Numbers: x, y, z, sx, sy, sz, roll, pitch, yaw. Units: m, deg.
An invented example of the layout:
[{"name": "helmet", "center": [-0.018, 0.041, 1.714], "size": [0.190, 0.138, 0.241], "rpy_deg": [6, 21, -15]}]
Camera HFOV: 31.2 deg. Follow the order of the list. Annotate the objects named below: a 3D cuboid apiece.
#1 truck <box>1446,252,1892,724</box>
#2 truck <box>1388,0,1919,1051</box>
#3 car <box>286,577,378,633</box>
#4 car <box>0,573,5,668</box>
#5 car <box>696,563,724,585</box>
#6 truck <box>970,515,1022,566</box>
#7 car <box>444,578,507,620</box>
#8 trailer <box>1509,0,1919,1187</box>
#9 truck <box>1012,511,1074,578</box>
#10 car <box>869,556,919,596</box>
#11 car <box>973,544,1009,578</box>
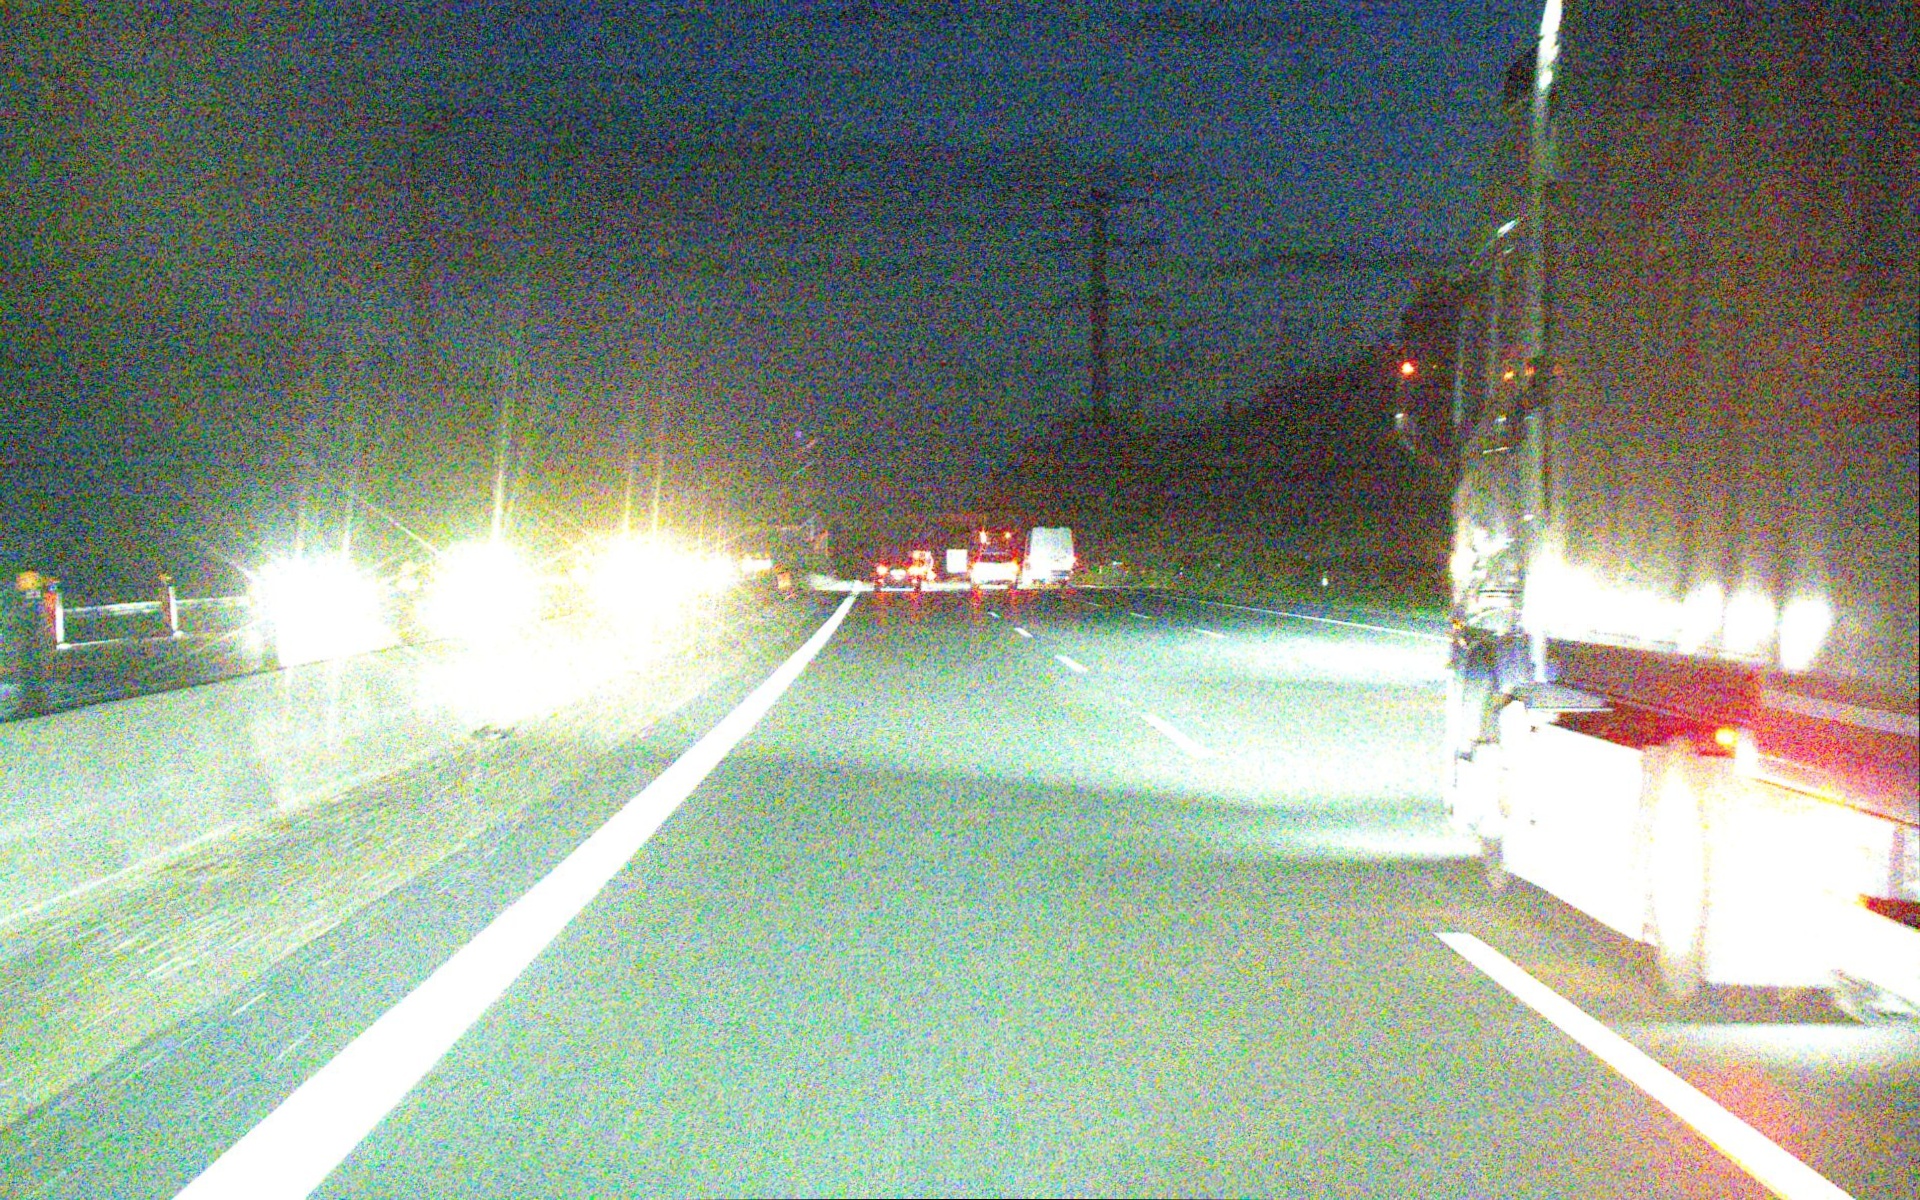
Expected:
[{"name": "truck", "center": [6.758, -1.021, 33.966], "size": [2.591, 4.058, 7.674], "rpy_deg": [2, 1, -1]}, {"name": "truck", "center": [3.582, -0.743, 13.822], "size": [2.662, 4.192, 6.723], "rpy_deg": [2, 1, -1]}, {"name": "car", "center": [-16.125, 0.117, 88.471], "size": [1.661, 1.329, 4.810], "rpy_deg": [-2, 1, -3]}, {"name": "car", "center": [-15.853, 0.369, 51.429], "size": [1.750, 1.473, 4.726], "rpy_deg": [-2, 1, 0]}, {"name": "car", "center": [-17.441, -1.818, 240.017], "size": [1.750, 1.473, 4.583], "rpy_deg": [-2, 1, -3]}, {"name": "truck", "center": [2.407, -4.041, 235.031], "size": [3.044, 3.313, 10.142], "rpy_deg": [2, 1, -2]}, {"name": "car", "center": [-16.879, -0.046, 119.970], "size": [1.631, 1.389, 4.878], "rpy_deg": [-2, 1, -2]}, {"name": "trailer", "center": [3.695, -0.668, 6.784], "size": [2.742, 4.192, 13.511], "rpy_deg": [2, 1, -1]}, {"name": "truck", "center": [3.721, -2.470, 155.462], "size": [2.076, 2.682, 7.308], "rpy_deg": [2, -2, -4]}, {"name": "car", "center": [-2.533, -0.919, 131.246], "size": [1.821, 1.461, 4.248], "rpy_deg": [2, 1, -2]}, {"name": "car", "center": [1.302, -1.633, 143.860], "size": [1.346, 1.382, 3.502], "rpy_deg": [2, 1, -2]}]
